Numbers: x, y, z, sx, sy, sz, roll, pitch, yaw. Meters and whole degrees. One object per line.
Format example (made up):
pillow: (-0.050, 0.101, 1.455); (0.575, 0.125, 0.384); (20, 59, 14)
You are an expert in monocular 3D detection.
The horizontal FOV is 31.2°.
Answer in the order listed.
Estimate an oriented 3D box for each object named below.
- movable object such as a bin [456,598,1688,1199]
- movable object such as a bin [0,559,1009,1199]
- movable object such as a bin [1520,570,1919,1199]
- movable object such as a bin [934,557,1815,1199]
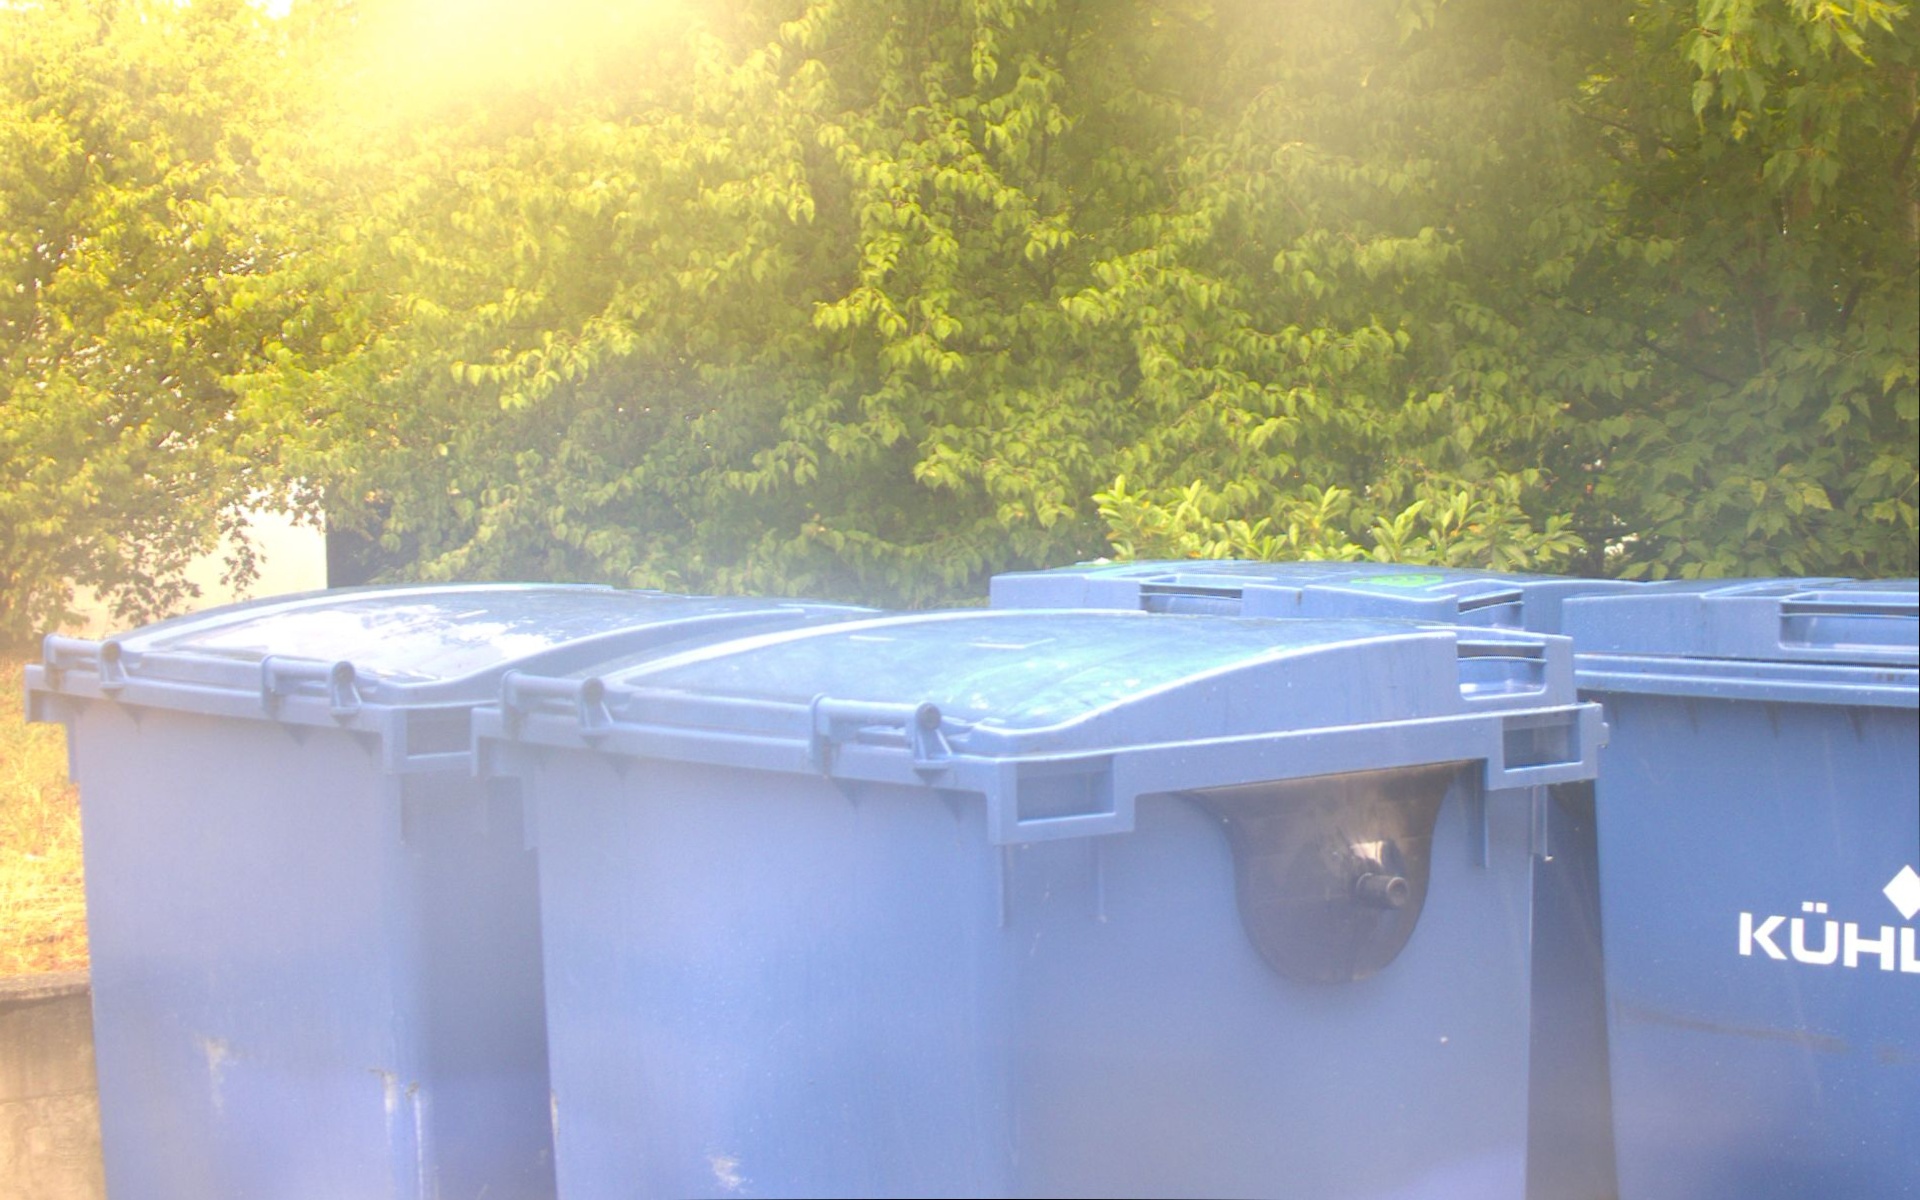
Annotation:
movable object such as a bin: (0.122, 0.686, 4.539); (1.113, 1.332, 1.206); (-2, 2, -35)
movable object such as a bin: (-0.741, 0.650, 5.546); (1.113, 1.332, 1.206); (-5, 5, -39)
movable object such as a bin: (1.685, 0.640, 5.366); (1.003, 1.332, 1.225); (-3, 2, -39)
movable object such as a bin: (0.747, 0.610, 6.315); (1.004, 1.332, 1.225); (-4, 3, -39)
